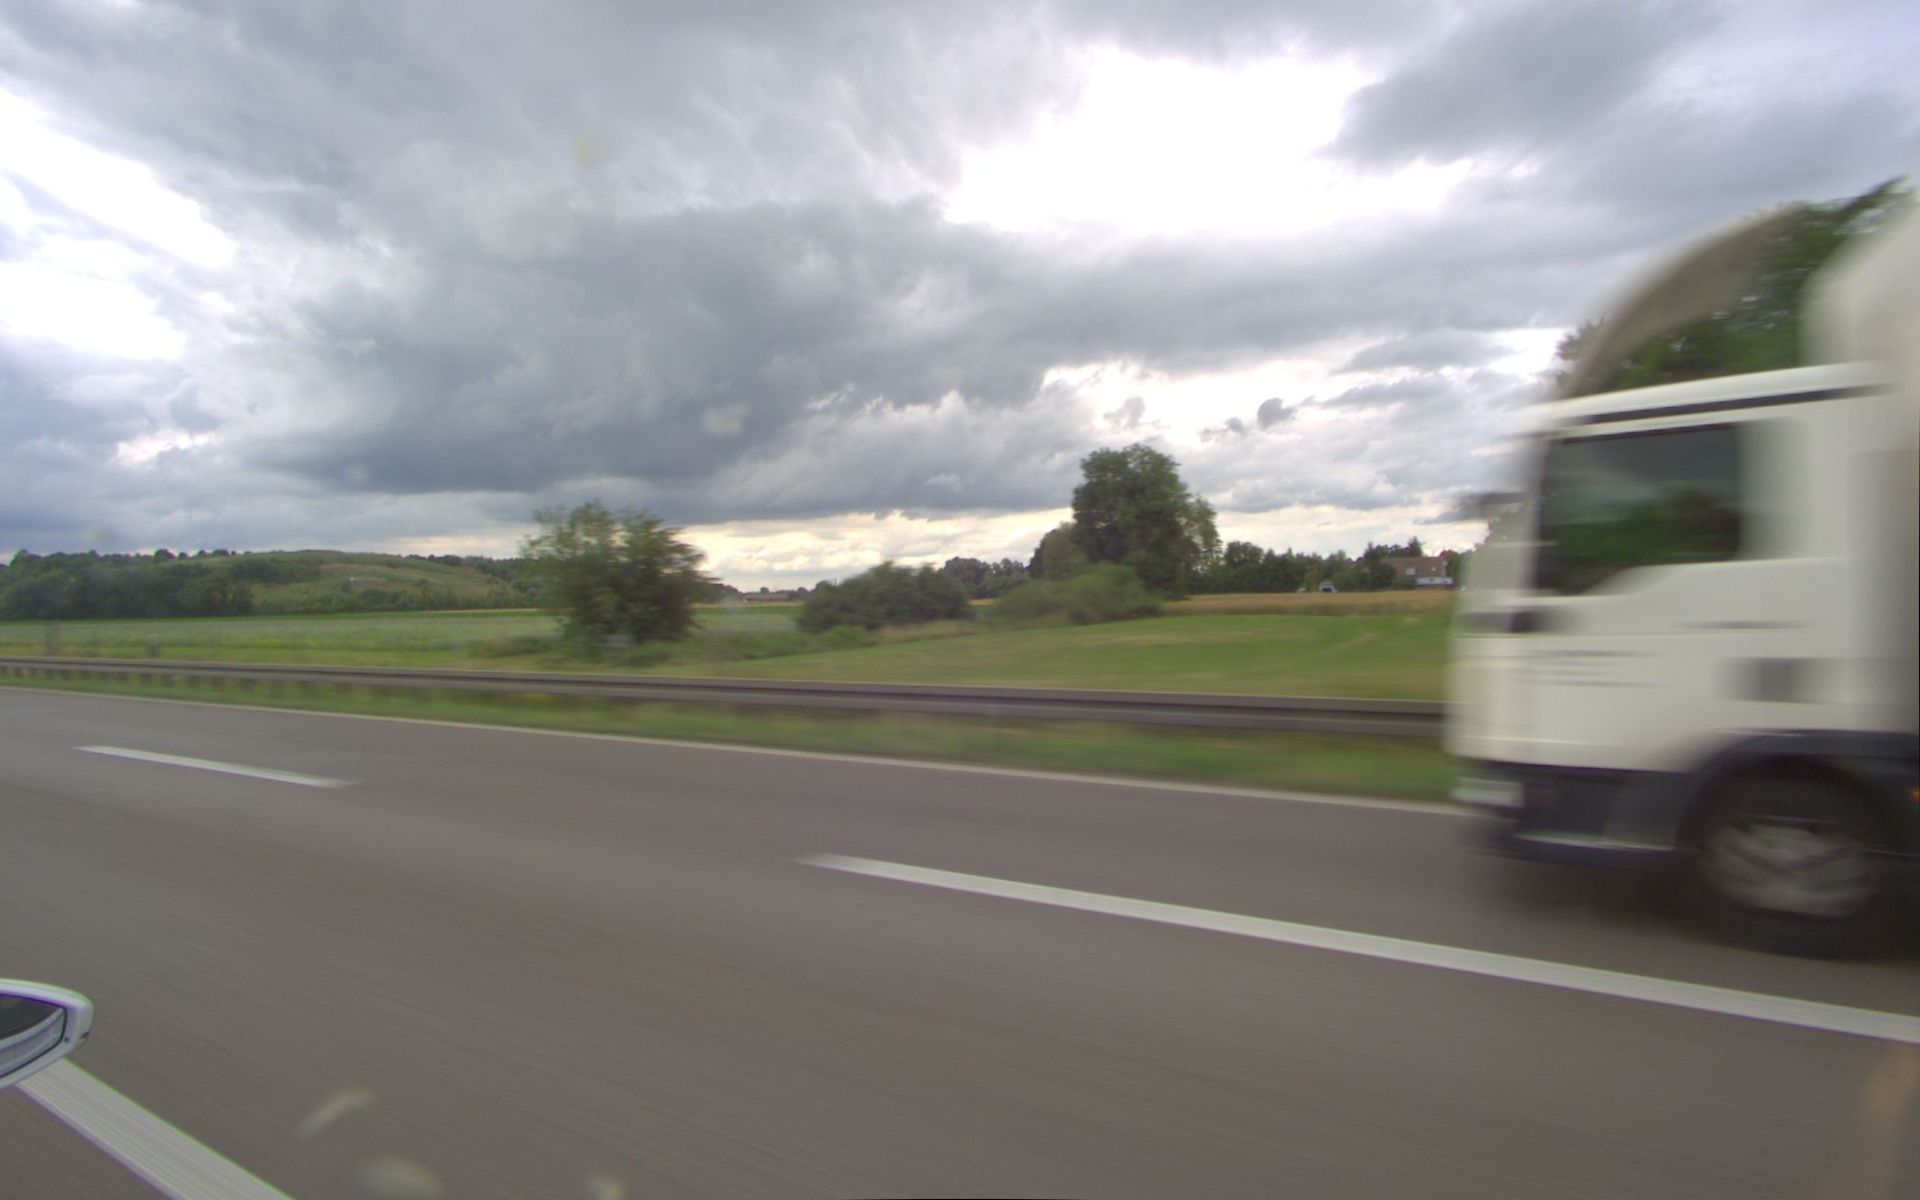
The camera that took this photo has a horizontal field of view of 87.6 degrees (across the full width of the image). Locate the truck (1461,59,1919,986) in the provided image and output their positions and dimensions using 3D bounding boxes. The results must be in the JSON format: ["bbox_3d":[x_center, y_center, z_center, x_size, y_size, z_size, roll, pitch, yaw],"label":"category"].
[{"bbox_3d":[6.840,-0.303,3.663,8.761,3.515,3.100,-1,-1,31],"label":"truck"}]
